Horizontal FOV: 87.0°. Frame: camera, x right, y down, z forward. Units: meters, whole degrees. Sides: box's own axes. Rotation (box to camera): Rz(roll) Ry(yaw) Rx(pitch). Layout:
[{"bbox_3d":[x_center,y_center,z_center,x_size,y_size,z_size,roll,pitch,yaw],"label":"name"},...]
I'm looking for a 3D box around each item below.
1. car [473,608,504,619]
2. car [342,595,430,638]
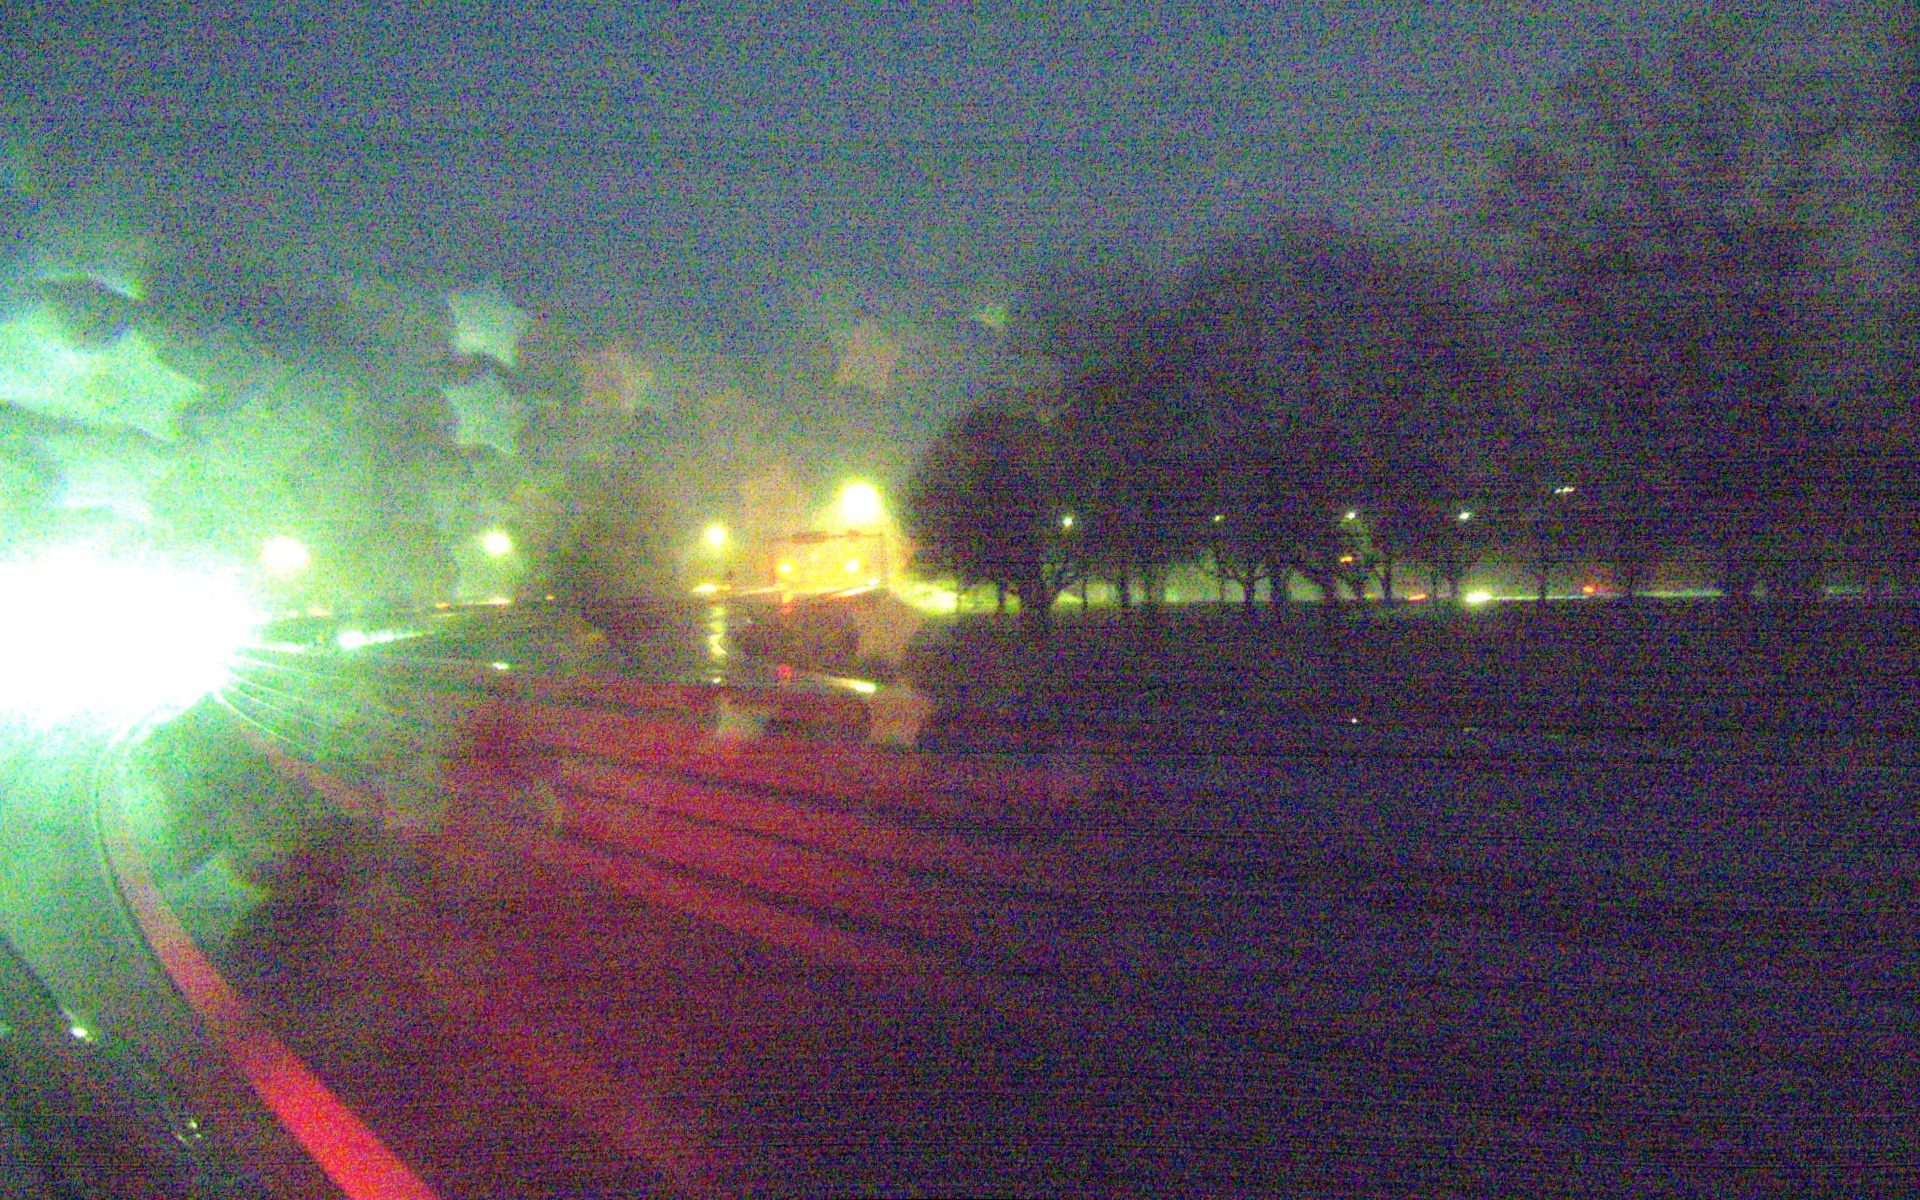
[{"bbox_3d":[-71.186,1.993,152.883,3.932,1.452,1.724,-3,0,-18],"label":"car"},{"bbox_3d":[-26.412,0.708,46.763,1.969,1.760,4.105,-3,1,-5],"label":"car"}]
